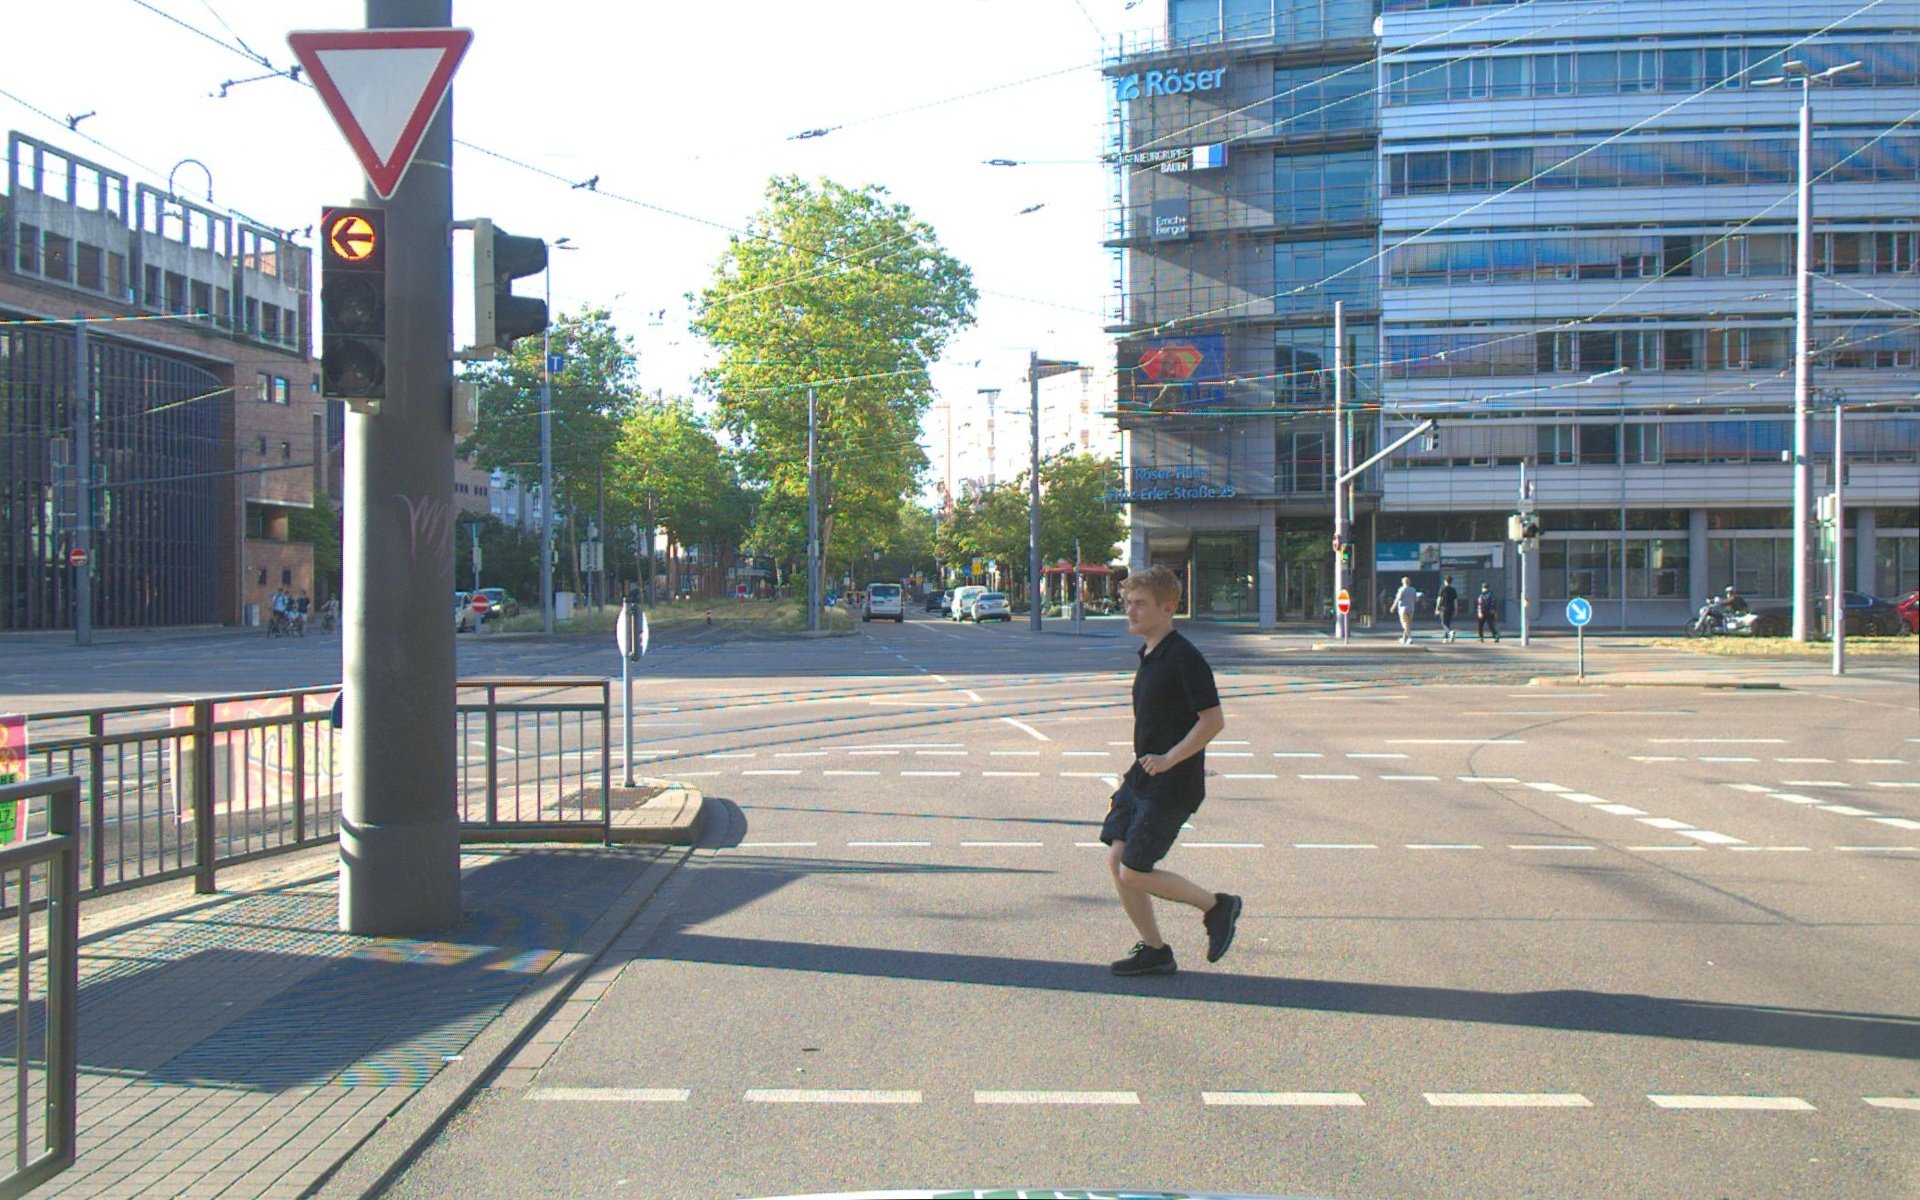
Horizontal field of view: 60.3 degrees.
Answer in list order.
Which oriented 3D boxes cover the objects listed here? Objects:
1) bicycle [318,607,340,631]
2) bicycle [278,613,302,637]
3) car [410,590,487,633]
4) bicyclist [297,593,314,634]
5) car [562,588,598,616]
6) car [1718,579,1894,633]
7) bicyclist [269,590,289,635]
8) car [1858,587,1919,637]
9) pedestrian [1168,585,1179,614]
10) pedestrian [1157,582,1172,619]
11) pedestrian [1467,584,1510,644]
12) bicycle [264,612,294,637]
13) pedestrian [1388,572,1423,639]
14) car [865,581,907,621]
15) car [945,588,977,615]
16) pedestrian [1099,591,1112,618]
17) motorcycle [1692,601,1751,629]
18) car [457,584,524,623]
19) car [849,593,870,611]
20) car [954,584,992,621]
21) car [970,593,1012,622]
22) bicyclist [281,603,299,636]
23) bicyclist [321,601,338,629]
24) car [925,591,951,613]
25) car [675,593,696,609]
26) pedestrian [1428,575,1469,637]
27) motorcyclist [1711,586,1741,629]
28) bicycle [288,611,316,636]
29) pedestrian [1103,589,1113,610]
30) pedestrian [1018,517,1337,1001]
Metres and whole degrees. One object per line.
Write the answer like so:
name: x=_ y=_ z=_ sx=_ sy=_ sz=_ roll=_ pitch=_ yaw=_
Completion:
bicycle: x=-27.118 y=0.821 z=71.109 sx=0.442 sy=0.980 sz=1.347 roll=-1 pitch=0 yaw=-1
bicycle: x=-27.652 y=1.029 z=68.229 sx=0.458 sy=0.980 sz=1.320 roll=-1 pitch=0 yaw=-1
car: x=-20.671 y=0.449 z=67.028 sx=1.953 sy=1.668 sz=3.999 roll=-1 pitch=0 yaw=-2
bicyclist: x=-25.873 y=0.530 z=65.392 sx=0.449 sy=1.631 sz=0.581 roll=-1 pitch=0 yaw=-1
car: x=-28.199 y=0.158 z=122.829 sx=1.954 sy=2.049 sz=3.997 roll=-1 pitch=0 yaw=-3
car: x=24.014 y=0.159 z=47.043 sx=4.070 sy=1.423 sz=1.786 roll=-1 pitch=0 yaw=4
bicyclist: x=-26.807 y=0.490 z=65.069 sx=0.525 sy=1.761 sz=0.581 roll=-1 pitch=0 yaw=-1
car: x=29.390 y=0.302 z=49.616 sx=3.903 sy=1.418 sz=1.786 roll=-2 pitch=0 yaw=4
pedestrian: x=11.555 y=-0.042 z=89.608 sx=0.599 sy=1.534 sz=0.579 roll=-1 pitch=0 yaw=7
pedestrian: x=8.698 y=0.014 z=70.331 sx=0.599 sy=1.534 sz=0.579 roll=-1 pitch=0 yaw=7
pedestrian: x=14.411 y=0.375 z=45.106 sx=0.928 sy=1.591 sz=0.897 roll=-1 pitch=0 yaw=6
bicycle: x=-26.803 y=0.960 z=65.146 sx=0.531 sy=0.980 sz=1.586 roll=-1 pitch=0 yaw=-1
pedestrian: x=12.289 y=0.152 z=45.625 sx=0.845 sy=1.820 sz=0.872 roll=-1 pitch=0 yaw=10
car: x=-3.606 y=0.031 z=81.325 sx=1.921 sy=1.881 sz=5.329 roll=-1 pitch=0 yaw=-1
car: x=0.031 y=0.074 z=105.203 sx=1.953 sy=1.646 sz=3.999 roll=-1 pitch=0 yaw=-1
pedestrian: x=9.231 y=0.286 z=105.098 sx=0.729 sy=1.744 sz=0.612 roll=-1 pitch=0 yaw=-1
motorcycle: x=22.941 y=0.461 z=49.826 sx=1.535 sy=0.824 sz=0.467 roll=-1 pitch=0 yaw=3
car: x=-21.125 y=0.149 z=74.586 sx=1.953 sy=1.668 sz=3.999 roll=-1 pitch=0 yaw=-2
car: x=-8.891 y=0.178 z=146.727 sx=1.762 sy=1.467 sz=3.998 roll=1 pitch=0 yaw=-3
car: x=0.683 y=0.120 z=89.567 sx=1.953 sy=1.892 sz=3.999 roll=-1 pitch=0 yaw=-1
car: x=1.532 y=0.340 z=82.781 sx=1.953 sy=1.400 sz=3.999 roll=-1 pitch=0 yaw=-1
bicyclist: x=-27.645 y=0.795 z=68.245 sx=0.495 sy=1.327 sz=0.581 roll=-1 pitch=0 yaw=-1
bicyclist: x=-27.103 y=0.634 z=71.069 sx=0.495 sy=1.199 sz=0.581 roll=-1 pitch=0 yaw=-1
car: x=-1.685 y=0.135 z=126.627 sx=1.953 sy=1.646 sz=3.999 roll=-1 pitch=0 yaw=-1
car: x=-33.109 y=0.080 z=199.764 sx=1.953 sy=1.847 sz=3.999 roll=-1 pitch=0 yaw=-1
pedestrian: x=13.666 y=0.171 z=46.297 sx=0.893 sy=1.714 sz=1.036 roll=-1 pitch=0 yaw=6
motorcyclist: x=23.069 y=0.227 z=49.818 sx=0.697 sy=1.298 sz=0.460 roll=-1 pitch=0 yaw=3
bicycle: x=-25.943 y=0.923 z=65.235 sx=0.463 sy=0.980 sz=1.575 roll=-1 pitch=0 yaw=-1
pedestrian: x=9.541 y=-0.026 z=106.535 sx=0.565 sy=1.311 sz=0.910 roll=-1 pitch=0 yaw=-1
pedestrian: x=0.838 y=0.583 z=6.559 sx=1.070 sy=1.779 sz=0.740 roll=0 pitch=0 yaw=-12
